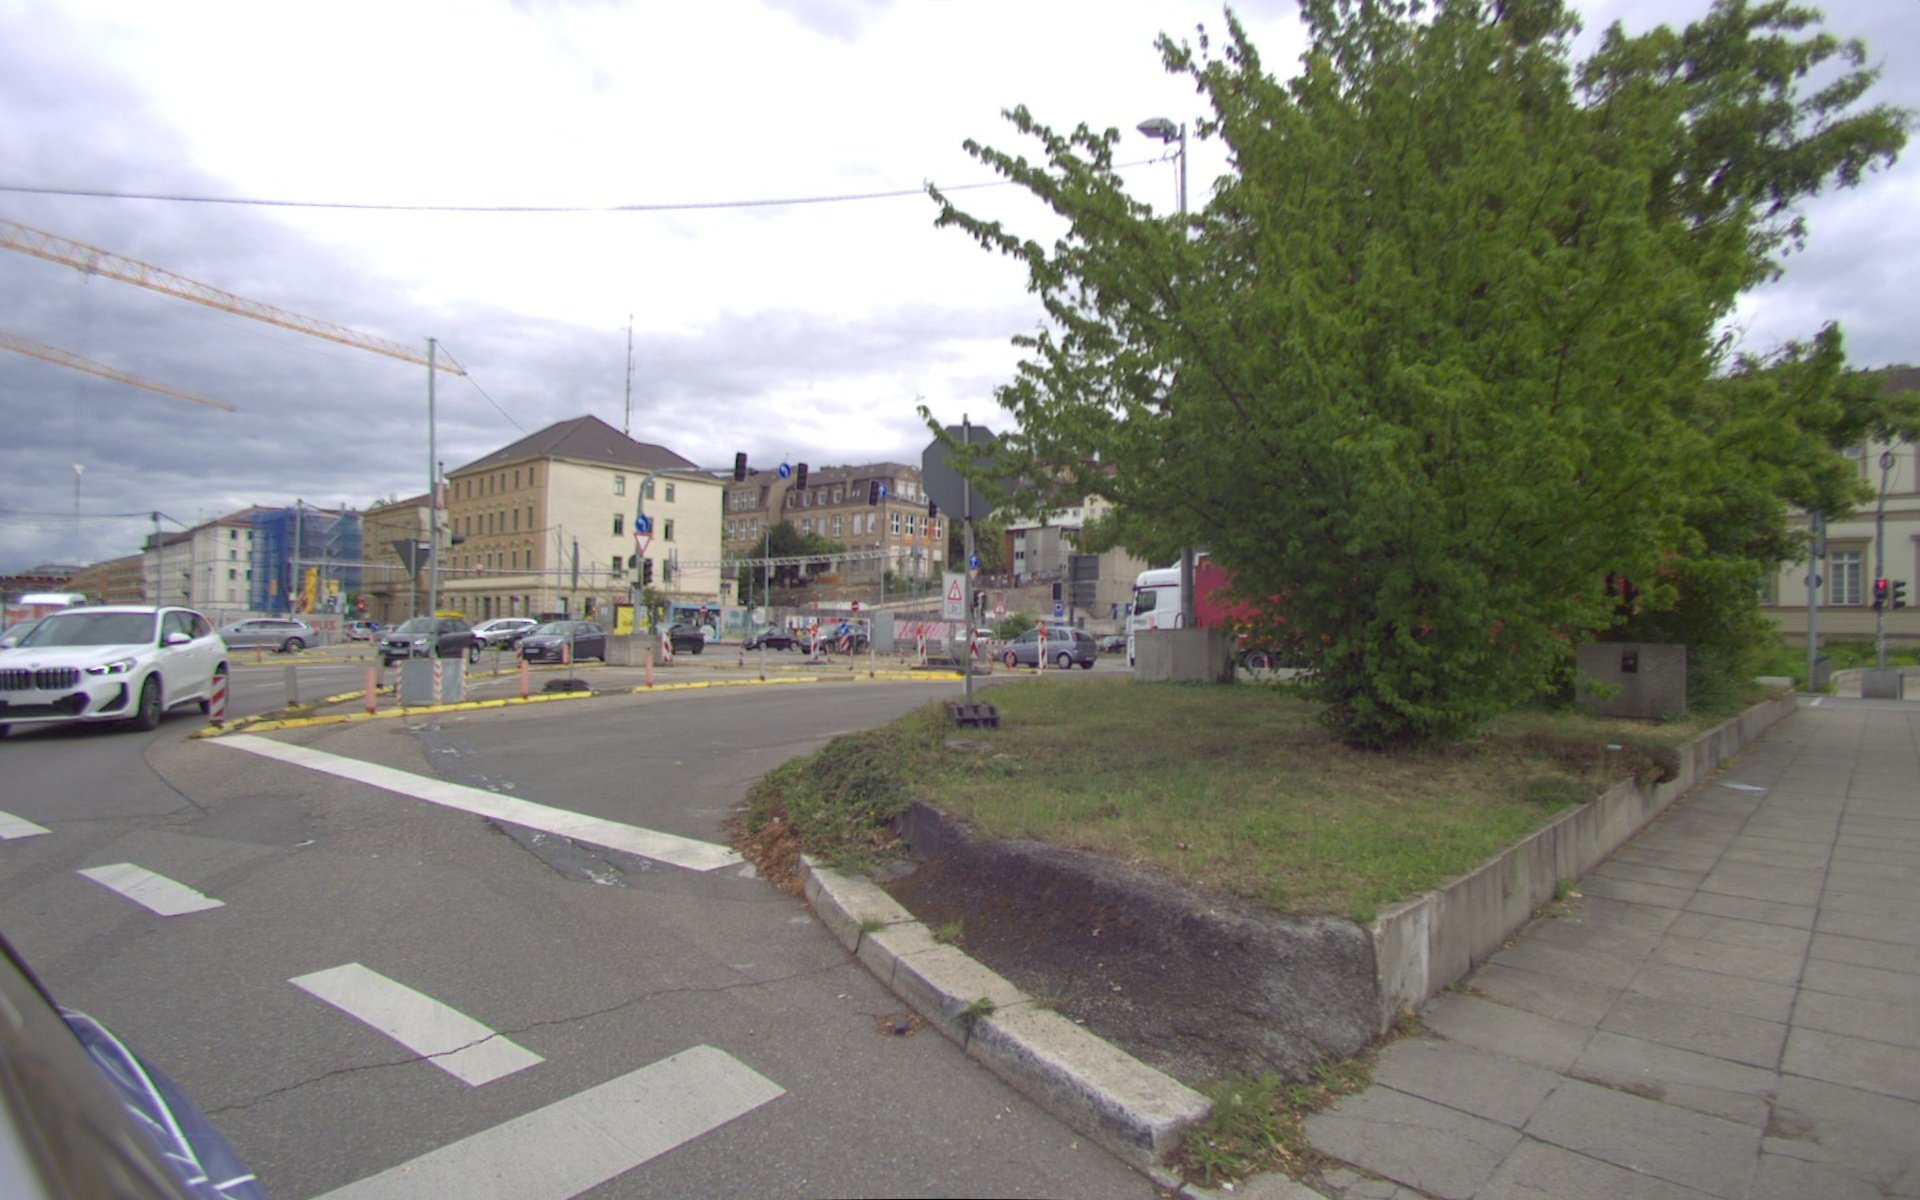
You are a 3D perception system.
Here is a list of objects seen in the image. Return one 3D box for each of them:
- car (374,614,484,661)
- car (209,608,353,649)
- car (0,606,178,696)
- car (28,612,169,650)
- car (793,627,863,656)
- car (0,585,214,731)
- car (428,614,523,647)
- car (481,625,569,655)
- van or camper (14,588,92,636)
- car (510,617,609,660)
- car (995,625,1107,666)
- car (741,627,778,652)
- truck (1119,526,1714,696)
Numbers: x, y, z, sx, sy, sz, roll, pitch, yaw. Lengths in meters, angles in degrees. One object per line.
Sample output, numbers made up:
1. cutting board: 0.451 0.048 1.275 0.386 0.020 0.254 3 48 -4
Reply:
1. car: -17.199 1.233 32.951 1.557 1.430 3.568 1 -3 2
2. car: -28.156 1.191 42.111 1.908 1.591 4.623 0 -2 38
3. car: -16.949 0.904 18.834 1.707 1.481 4.425 2 -3 -7
4. car: -33.856 1.245 39.833 1.692 1.427 4.029 -2 -3 42
5. car: -7.062 2.187 54.476 1.866 1.431 4.070 -1 -1 25
6. car: -11.280 0.668 13.042 1.782 1.617 3.725 -1 0 -22
7. car: -24.655 1.581 51.582 1.691 1.586 4.016 -3 -4 40
8. car: -21.763 2.026 50.676 3.648 1.400 1.730 4 -4 -44
9. van or camper: -44.641 0.565 49.913 1.965 2.244 4.013 2 -1 -29
10. car: -13.960 1.309 35.516 1.828 1.431 4.104 0 -1 0
11. car: 3.499 1.772 39.395 4.130 1.515 1.746 -2 -3 42
12. car: -12.278 2.387 62.091 1.848 1.431 4.110 0 -1 -6
13. truck: 12.721 0.479 31.163 16.609 4.114 2.886 -1 -4 42
